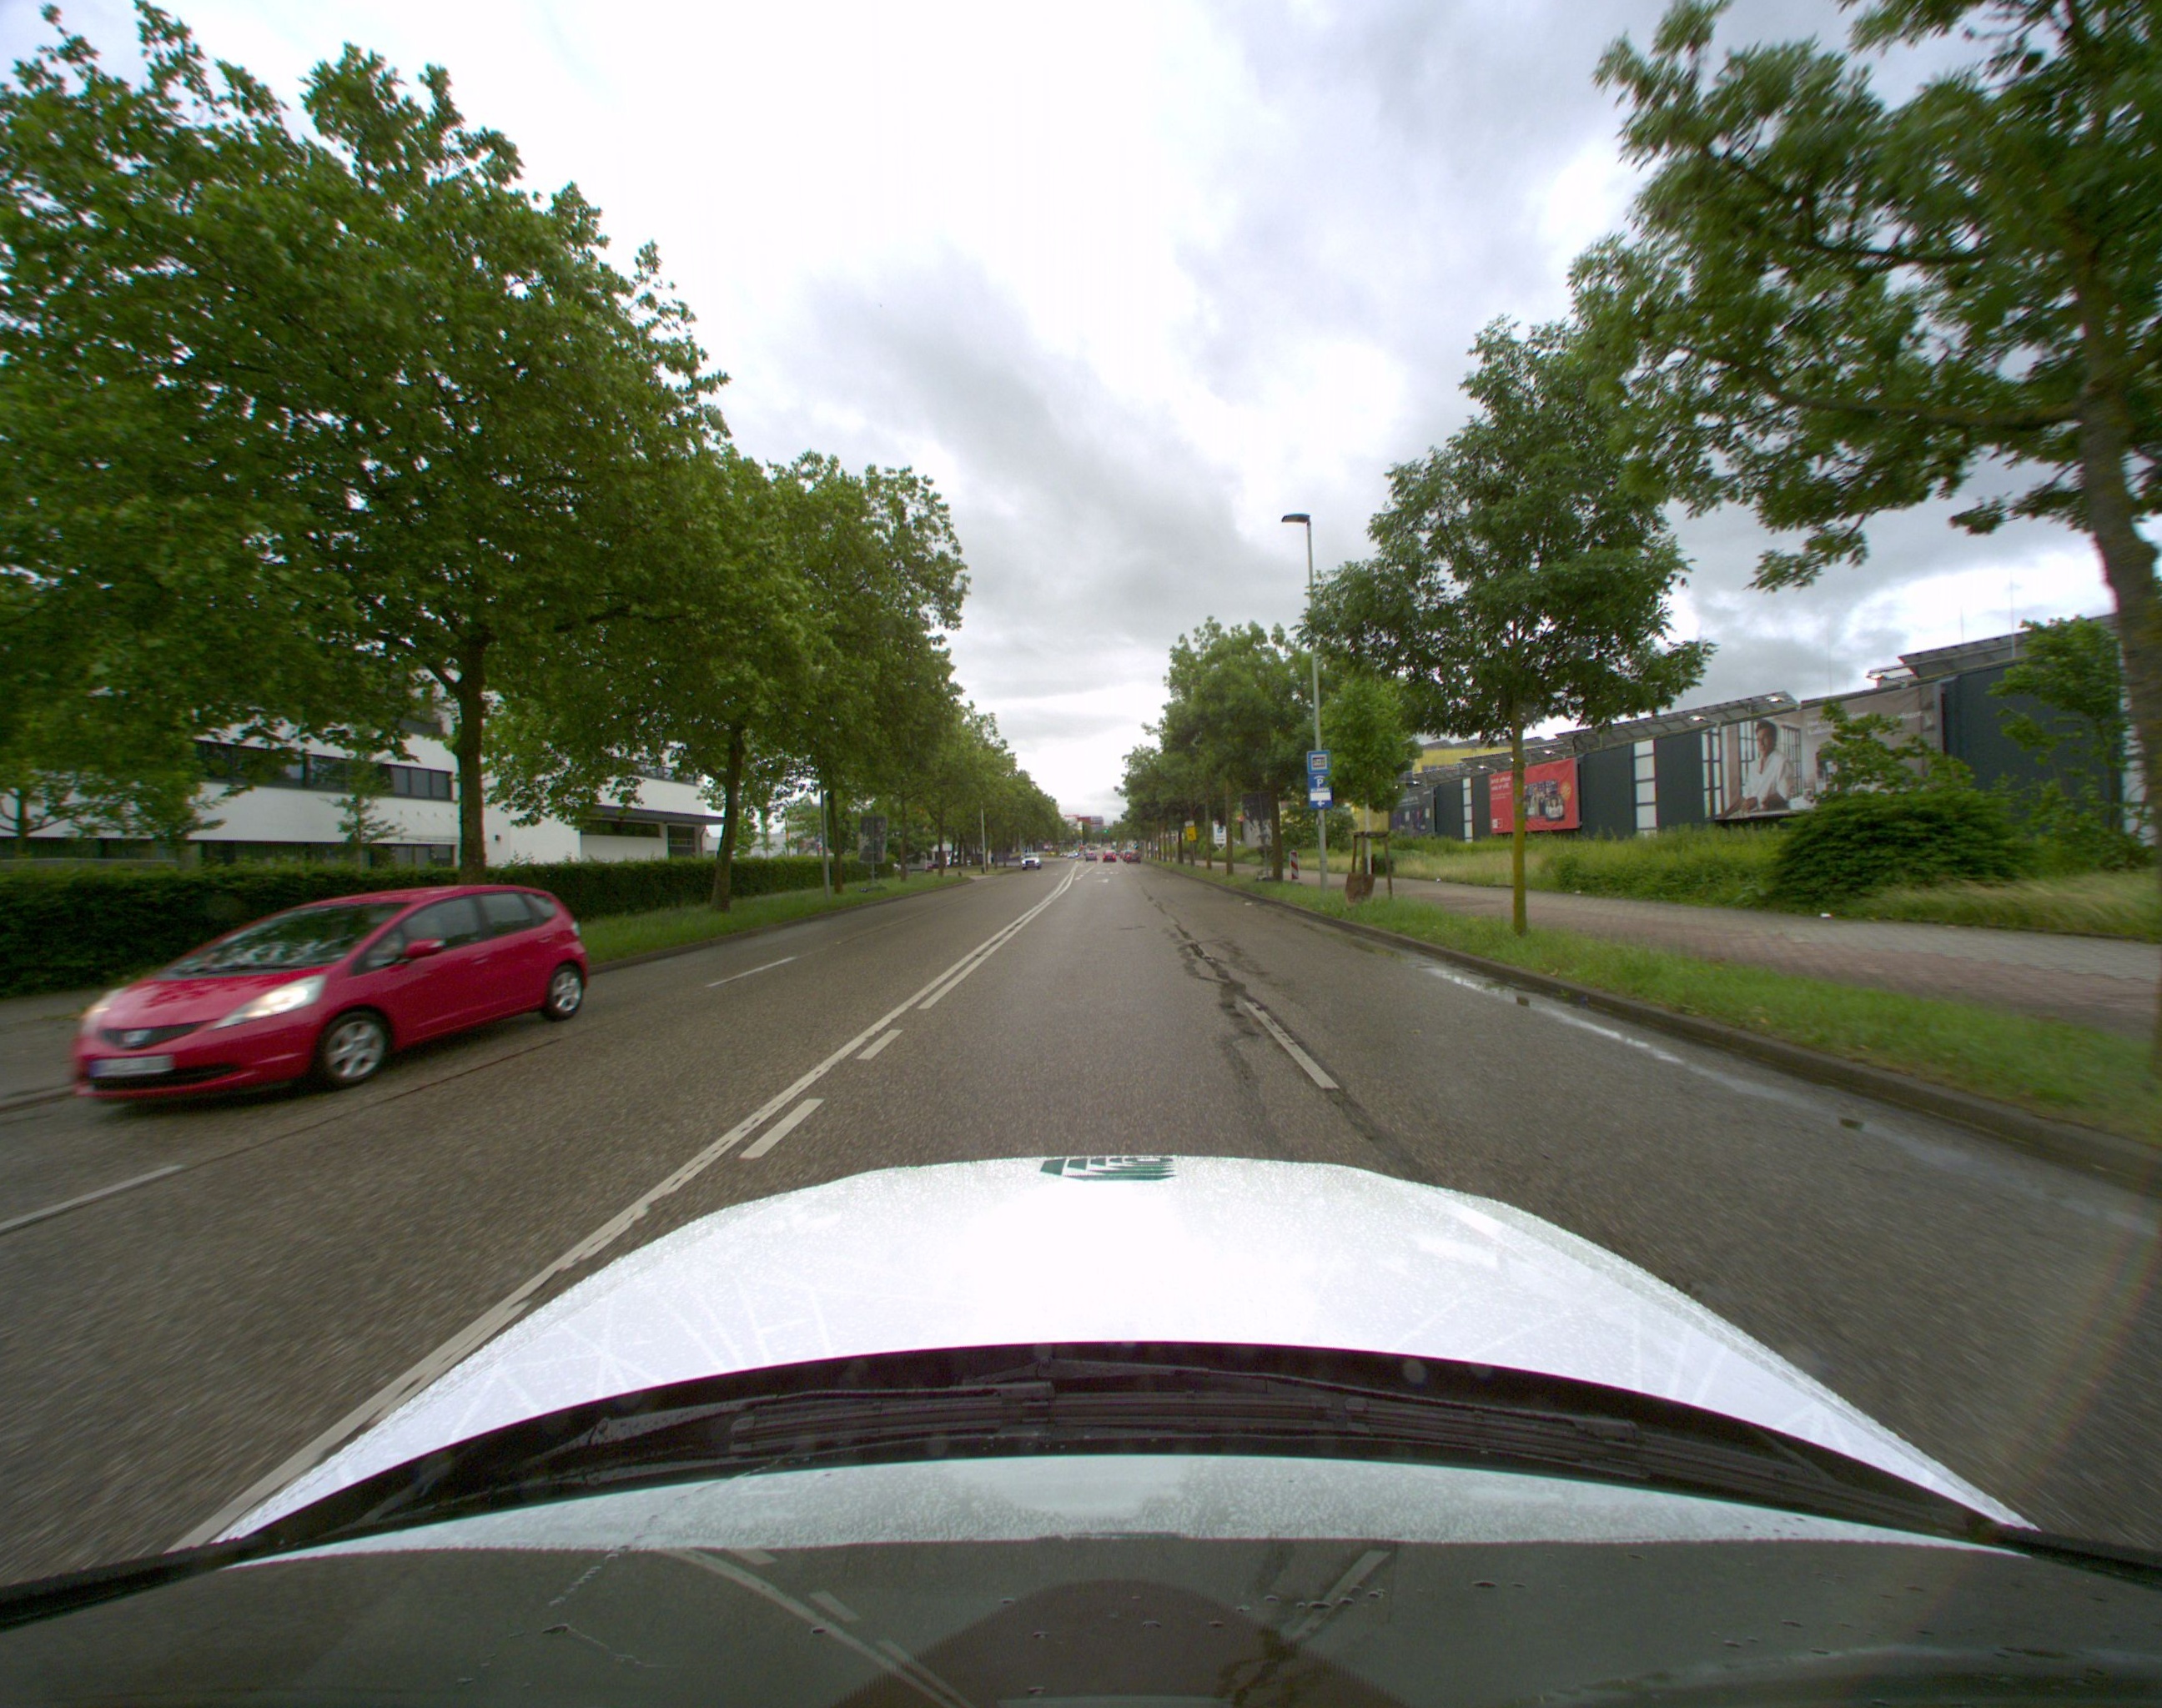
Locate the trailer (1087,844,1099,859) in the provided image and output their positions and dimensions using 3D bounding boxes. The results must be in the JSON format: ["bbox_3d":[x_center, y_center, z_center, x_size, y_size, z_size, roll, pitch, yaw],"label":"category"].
[{"bbox_3d":[2.342,-0.464,160.647,2.365,2.897,5.545,-3,0,0],"label":"trailer"}]

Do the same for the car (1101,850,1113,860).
[{"bbox_3d":[3.932,0.096,122.650,1.775,1.398,4.001,-1,0,1],"label":"car"}]

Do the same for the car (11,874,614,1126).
[{"bbox_3d":[-6.426,1.046,7.597,1.736,1.533,3.999,-4,0,0],"label":"car"}]

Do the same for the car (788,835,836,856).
[{"bbox_3d":[-26.143,-0.825,79.261,3.971,1.889,1.964,-2,0,2],"label":"car"}]

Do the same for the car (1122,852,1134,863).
[{"bbox_3d":[7.316,0.525,127.773,1.794,1.587,4.453,0,1,2],"label":"car"}]

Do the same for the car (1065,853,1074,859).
[{"bbox_3d":[-2.622,0.497,190.169,1.988,1.429,4.681,-3,0,-2],"label":"car"}]

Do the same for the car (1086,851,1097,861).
[{"bbox_3d":[1.925,0.337,145.695,1.900,1.578,4.882,-3,0,2],"label":"car"}]

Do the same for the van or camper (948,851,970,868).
[{"bbox_3d":[-17.661,0.753,118.110,1.986,2.470,6.404,-1,0,2],"label":"van or camper"}]

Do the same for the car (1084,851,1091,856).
[{"bbox_3d":[1.714,-0.113,218.682,1.678,1.377,3.997,-2,0,-2],"label":"car"}]

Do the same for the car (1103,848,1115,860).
[{"bbox_3d":[4.704,-0.021,136.174,1.986,2.014,4.001,0,-1,1],"label":"car"}]

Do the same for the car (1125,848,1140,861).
[{"bbox_3d":[6.850,0.022,108.809,1.720,1.624,4.472,-2,0,2],"label":"car"}]

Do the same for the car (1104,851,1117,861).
[{"bbox_3d":[4.666,0.308,128.991,1.678,1.377,3.997,-2,0,-2],"label":"car"}]

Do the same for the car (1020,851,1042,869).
[{"bbox_3d":[-5.335,0.592,88.067,1.905,1.805,5.341,-3,0,0],"label":"car"}]

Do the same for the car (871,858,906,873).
[{"bbox_3d":[-24.906,1.452,105.324,3.975,1.766,1.881,-2,0,-1],"label":"car"}]

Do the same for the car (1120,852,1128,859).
[{"bbox_3d":[8.773,0.250,166.617,1.689,1.443,3.991,-2,0,2],"label":"car"}]
